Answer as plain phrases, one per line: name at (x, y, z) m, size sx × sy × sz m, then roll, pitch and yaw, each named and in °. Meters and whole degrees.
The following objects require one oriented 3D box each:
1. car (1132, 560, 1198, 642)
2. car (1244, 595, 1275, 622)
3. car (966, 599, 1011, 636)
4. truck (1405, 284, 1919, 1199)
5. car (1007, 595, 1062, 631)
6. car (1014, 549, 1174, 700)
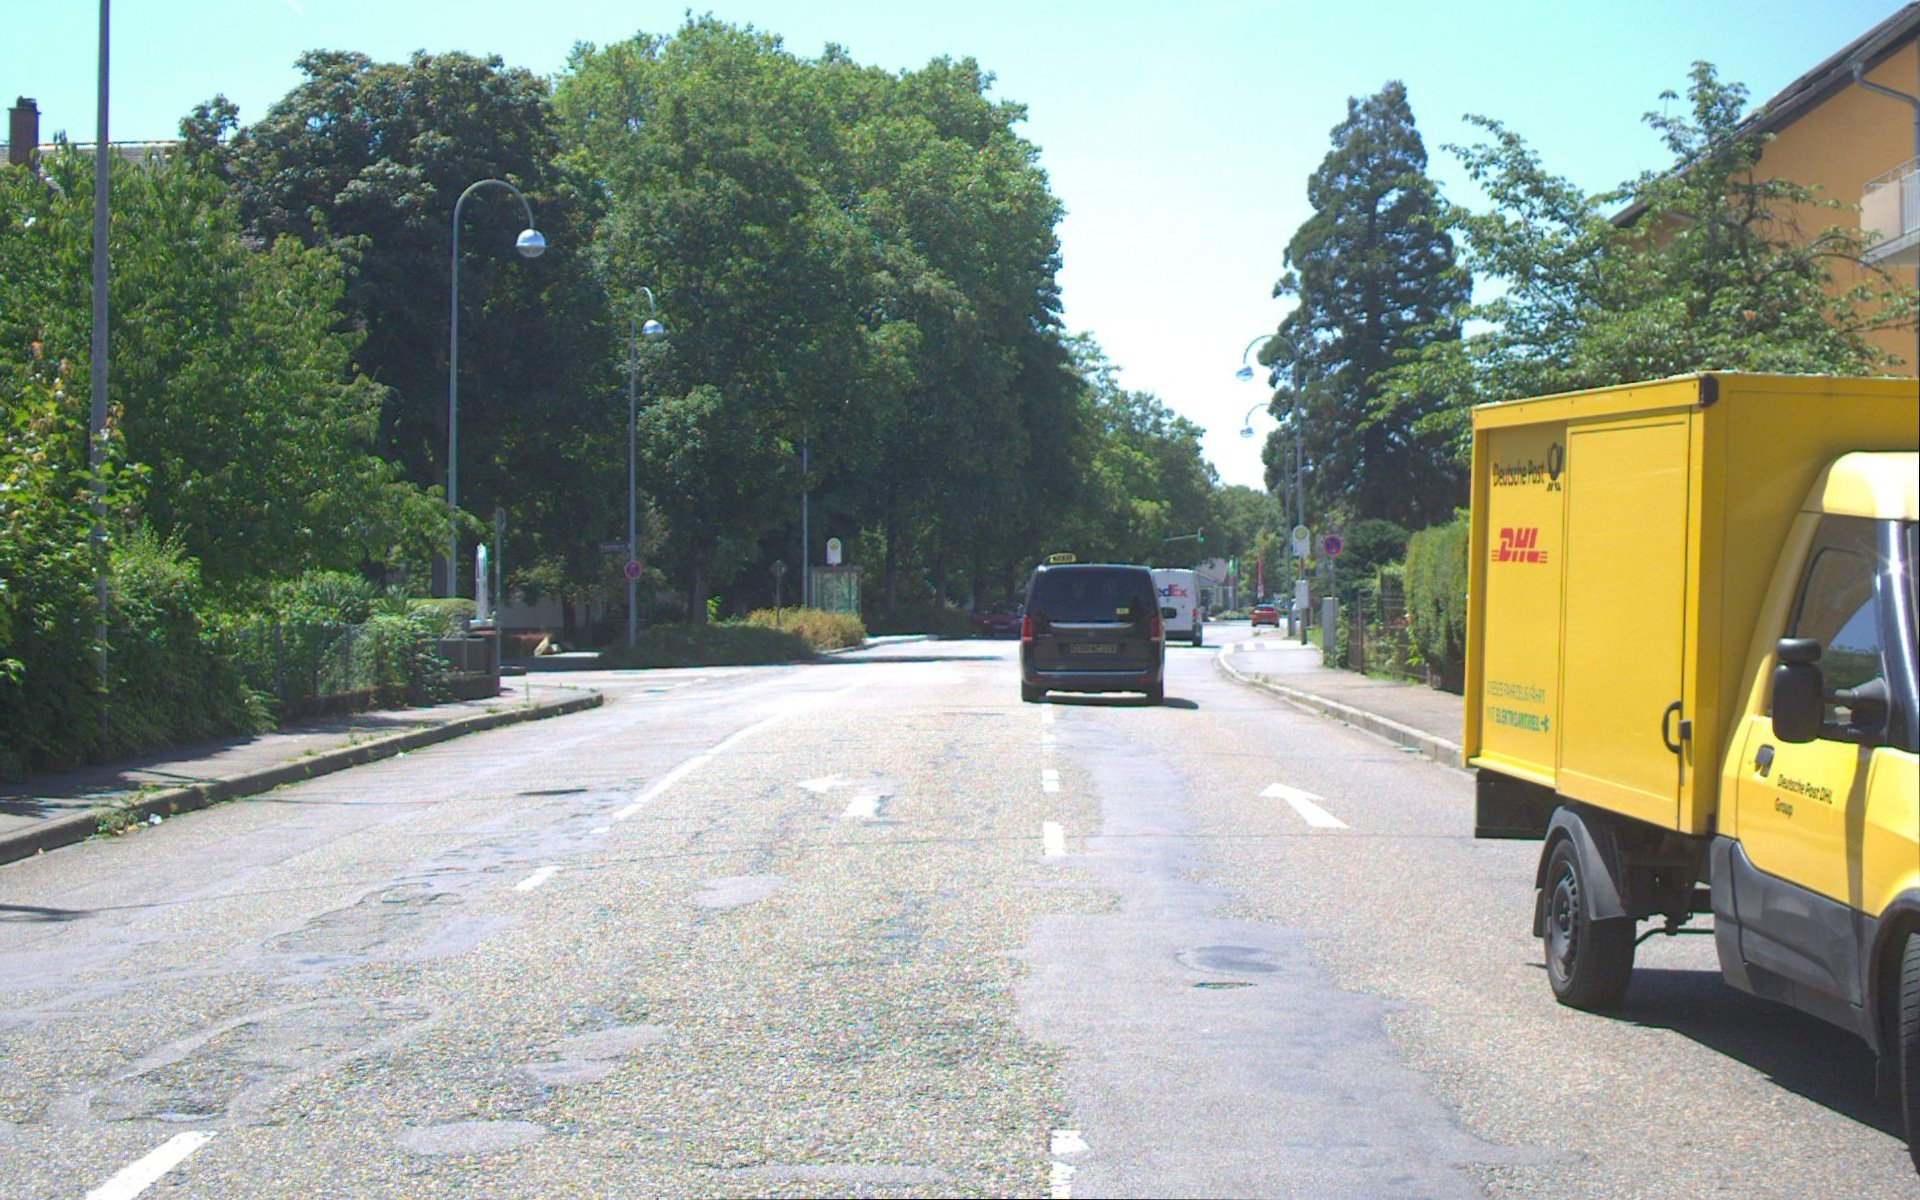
car at (6.916, 0.003, 116.478) m, size 2.120 × 2.668 × 5.661 m, roll 1°, pitch 1°, yaw 3°
car at (19.620, 0.557, 225.475) m, size 1.858 × 1.637 × 4.000 m, roll 1°, pitch 1°, yaw 3°
car at (1.162, 0.707, 140.439) m, size 1.550 × 1.445 × 3.690 m, roll 1°, pitch 0°, yaw 4°
truck at (3.167, 0.351, 11.443) m, size 2.013 × 2.301 × 6.177 m, roll 2°, pitch 1°, yaw -5°
car at (3.240, 0.544, 149.017) m, size 1.692 × 1.455 × 3.637 m, roll 1°, pitch 1°, yaw 12°
car at (1.839, 0.290, 46.028) m, size 1.994 × 1.887 × 4.000 m, roll 1°, pitch 1°, yaw 4°
